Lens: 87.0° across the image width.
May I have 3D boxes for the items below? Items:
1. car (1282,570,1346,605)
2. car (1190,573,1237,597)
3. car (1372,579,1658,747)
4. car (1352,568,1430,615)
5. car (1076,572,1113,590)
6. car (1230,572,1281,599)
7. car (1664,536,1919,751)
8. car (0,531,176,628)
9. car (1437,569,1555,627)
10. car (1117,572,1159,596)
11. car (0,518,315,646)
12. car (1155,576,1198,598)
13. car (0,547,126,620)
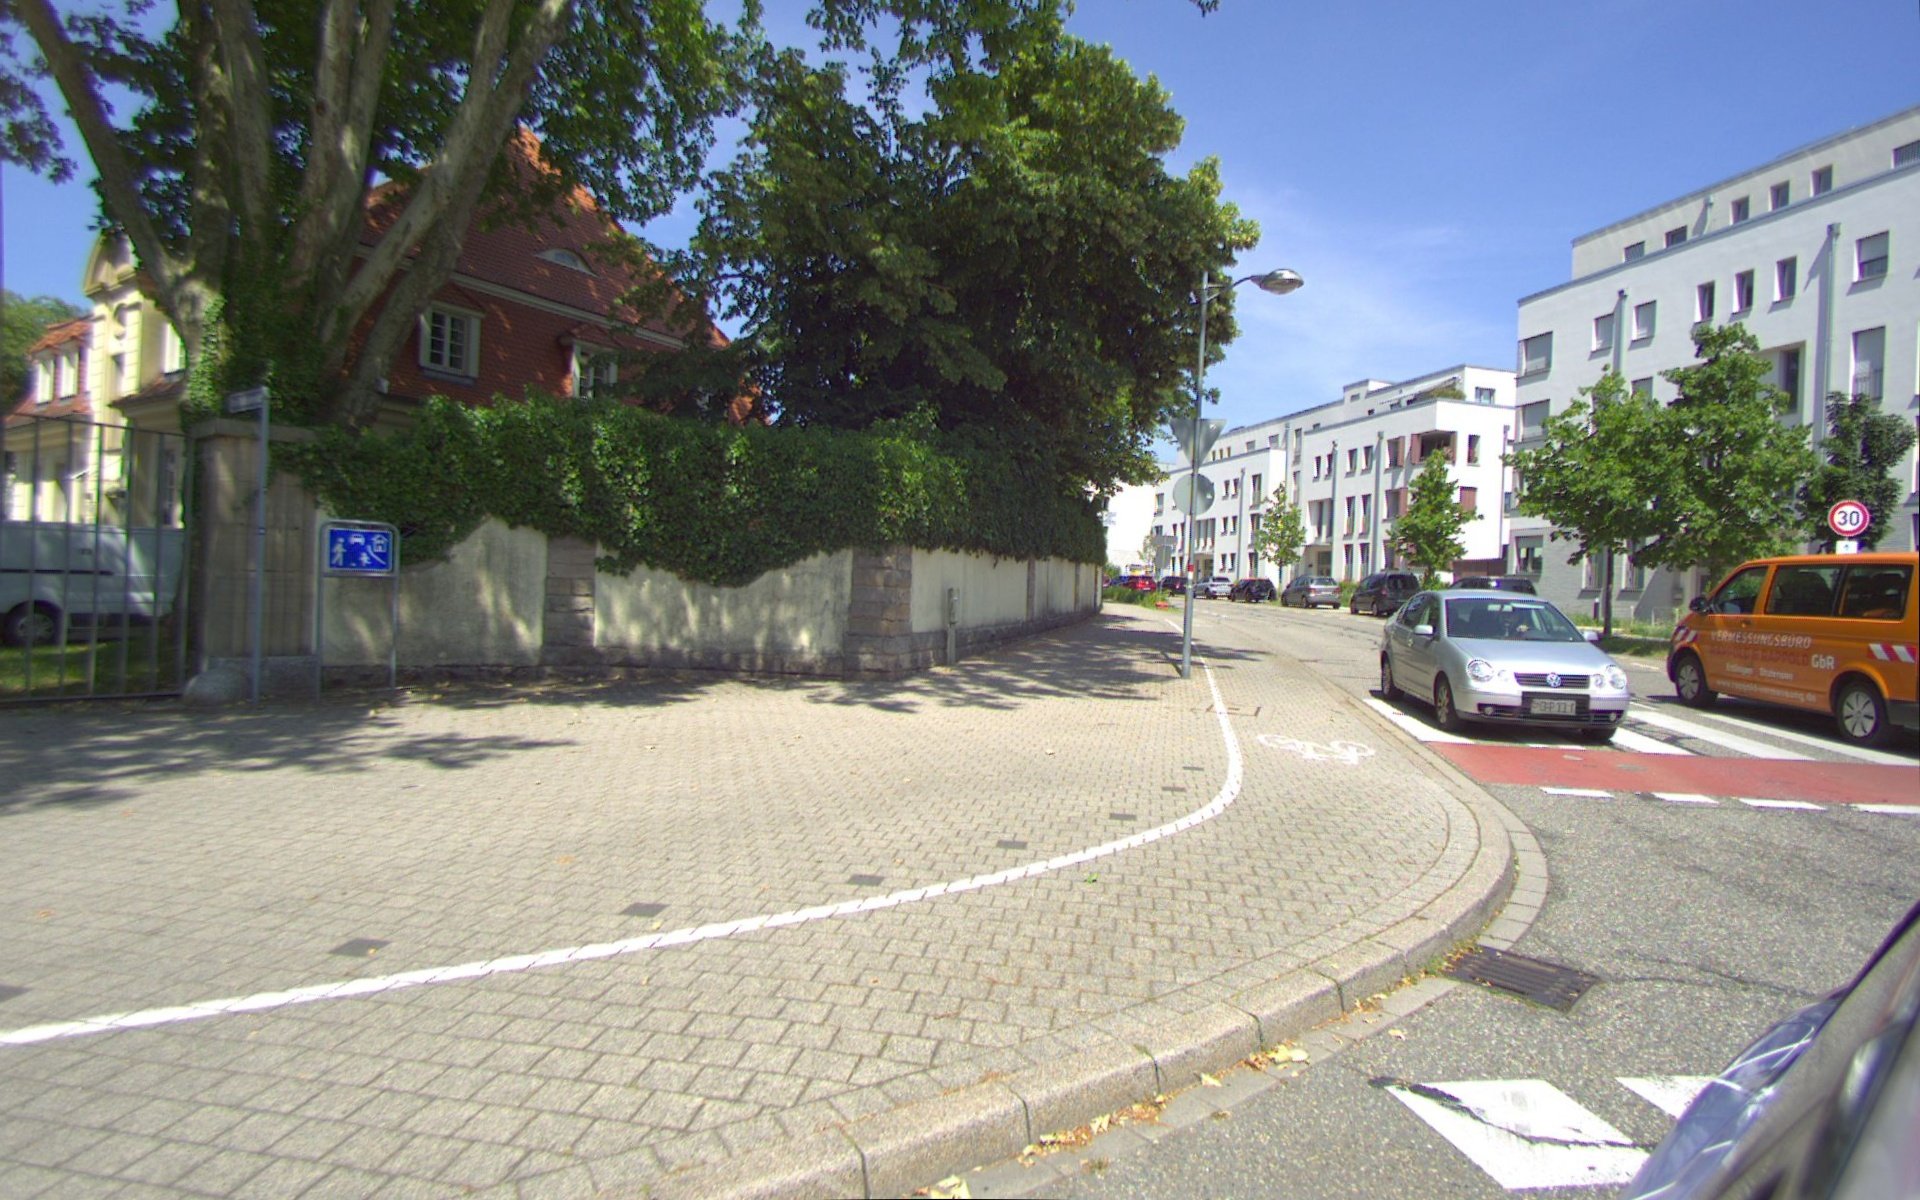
[{"bbox_3d":[17.489,-0.661,50.109,1.756,1.609,3.630,1,2,-2],"label":"car"},{"bbox_3d":[16.218,-1.007,64.856,1.673,1.431,3.727,1,2,-6],"label":"car"},{"bbox_3d":[6.007,0.543,11.510,1.582,1.469,3.990,2,2,10],"label":"car"},{"bbox_3d":[17.182,-0.377,40.501,1.669,1.721,3.626,1,2,3],"label":"car"},{"bbox_3d":[11.427,-1.672,86.349,1.671,1.431,3.731,1,2,-18],"label":"car"},{"bbox_3d":[17.037,-0.867,58.514,1.673,1.431,3.631,1,2,-4],"label":"car"},{"bbox_3d":[10.027,0.359,10.849,1.917,1.983,5.012,0,2,7],"label":"car"},{"bbox_3d":[-18.546,-0.435,20.163,1.828,1.833,4.284,2,2,31],"label":"car"},{"bbox_3d":[16.671,-0.130,31.700,1.669,1.657,4.019,1,2,3],"label":"car"},{"bbox_3d":[11.821,-1.096,67.410,1.721,1.523,3.998,1,2,-6],"label":"car"},{"bbox_3d":[-14.026,-0.338,17.225,1.961,1.909,4.811,2,2,31],"label":"car"},{"bbox_3d":[15.259,-0.949,71.434,1.672,1.431,3.728,1,2,-9],"label":"car"},{"bbox_3d":[-20.616,-0.373,21.409,1.798,1.503,4.282,2,2,33],"label":"car"}]
